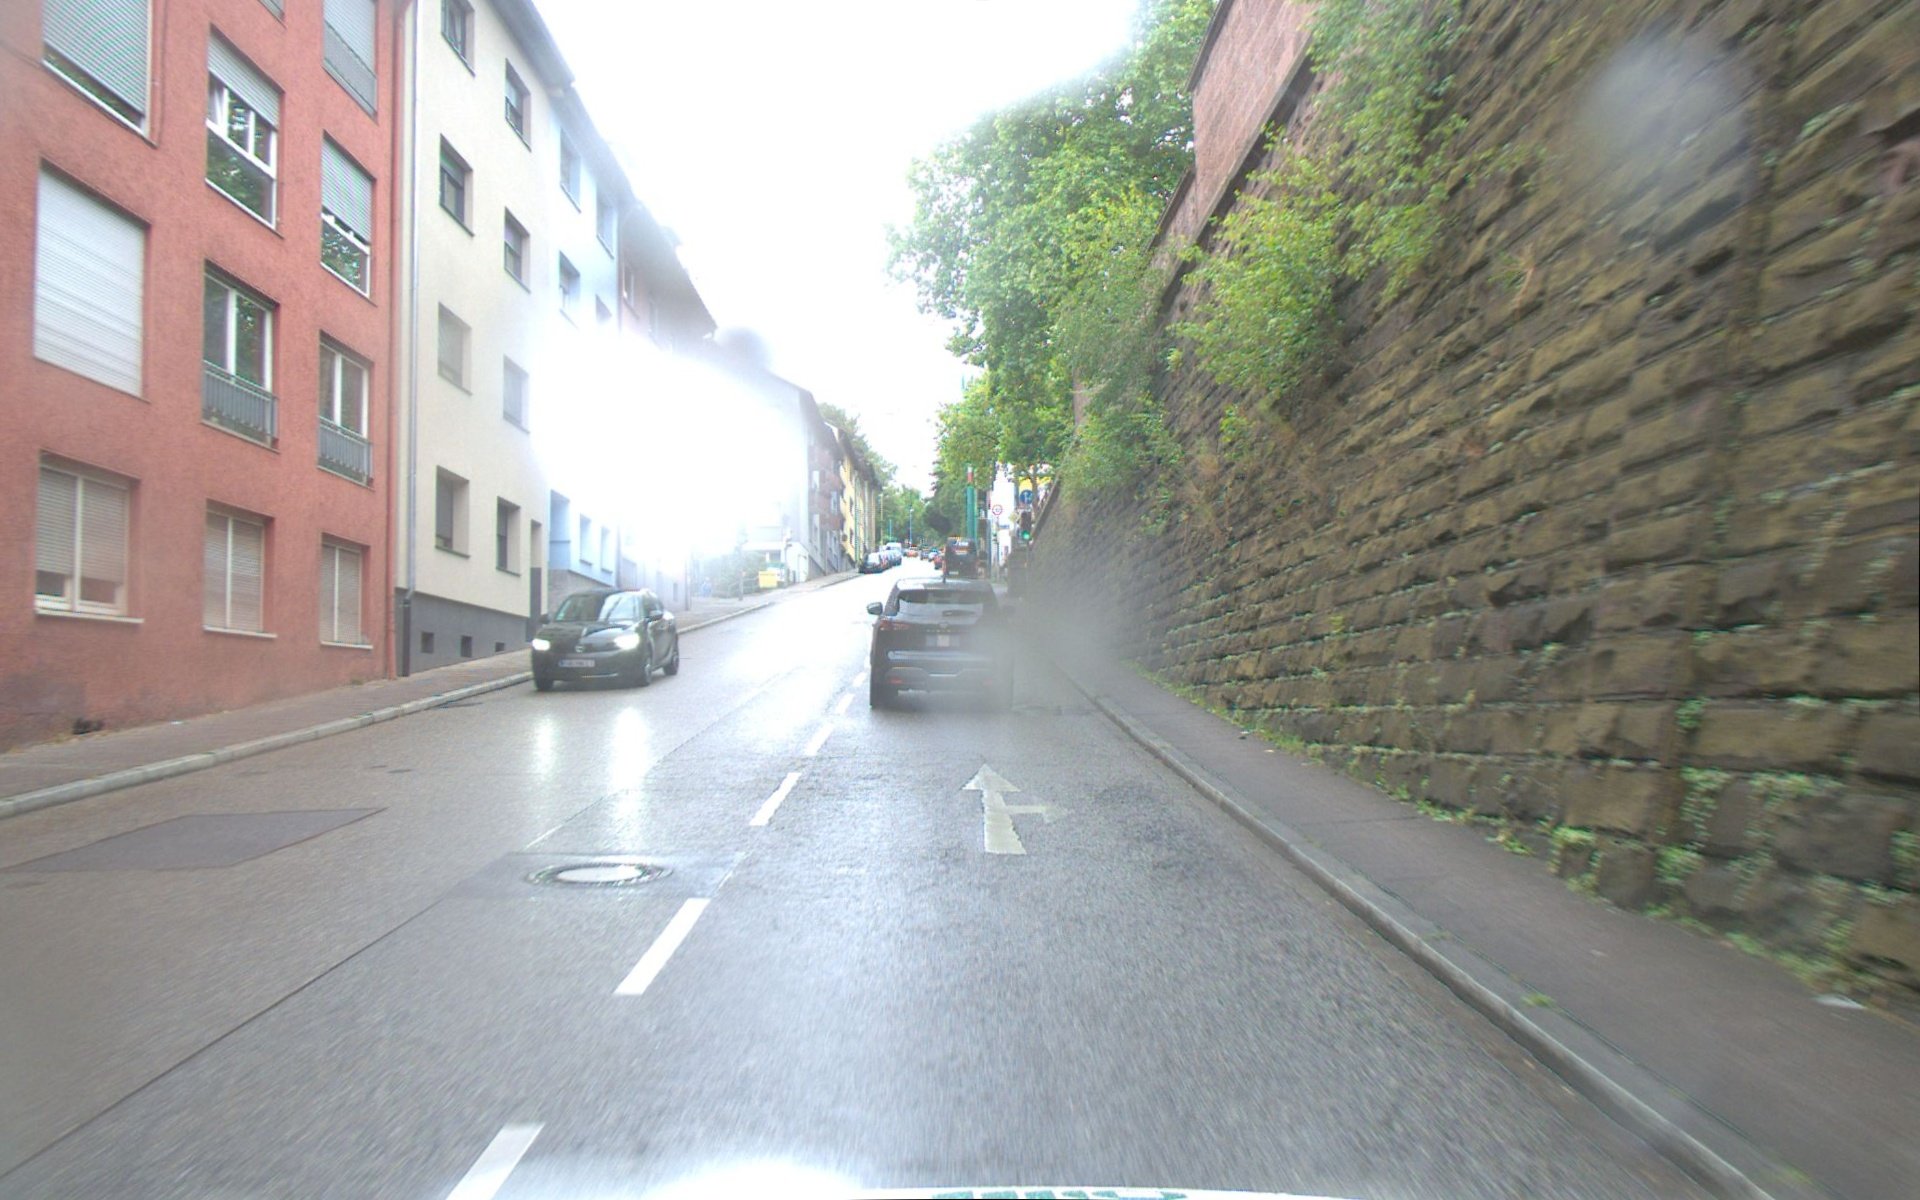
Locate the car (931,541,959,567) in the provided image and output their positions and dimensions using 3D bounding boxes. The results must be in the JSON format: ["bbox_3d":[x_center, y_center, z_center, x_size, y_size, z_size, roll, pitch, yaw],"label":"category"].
[{"bbox_3d":[-0.977,-3.003,107.969,1.758,1.537,4.499,-1,0,-1],"label":"car"}]

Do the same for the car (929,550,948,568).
[{"bbox_3d":[-1.989,-3.810,155.219,1.758,1.537,3.999,-1,0,-1],"label":"car"}]

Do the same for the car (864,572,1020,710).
[{"bbox_3d":[-0.328,0.476,21.701,1.844,1.621,3.918,-1,0,-3],"label":"car"}]

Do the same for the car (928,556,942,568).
[{"bbox_3d":[-3.304,-5.014,218.719,1.758,1.537,3.999,-1,0,-1],"label":"car"}]

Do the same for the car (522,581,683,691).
[{"bbox_3d":[-5.410,0.494,25.507,1.679,1.473,3.920,-1,1,-1],"label":"car"}]

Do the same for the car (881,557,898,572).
[{"bbox_3d":[-7.723,-3.856,181.499,1.758,1.537,3.999,-1,0,-1],"label":"car"}]

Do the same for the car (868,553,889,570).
[{"bbox_3d":[-7.746,-3.635,157.406,1.758,1.537,3.999,-1,0,-1],"label":"car"}]

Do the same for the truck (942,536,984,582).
[{"bbox_3d":[0.133,-2.282,93.186,2.243,2.483,4.452,-1,0,-1],"label":"truck"}]

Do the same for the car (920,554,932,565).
[{"bbox_3d":[-5.089,-5.968,245.524,1.758,1.537,3.999,-1,0,-1],"label":"car"}]

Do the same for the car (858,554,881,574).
[{"bbox_3d":[-7.508,-2.995,137.400,1.758,1.537,3.999,-1,0,-1],"label":"car"}]
